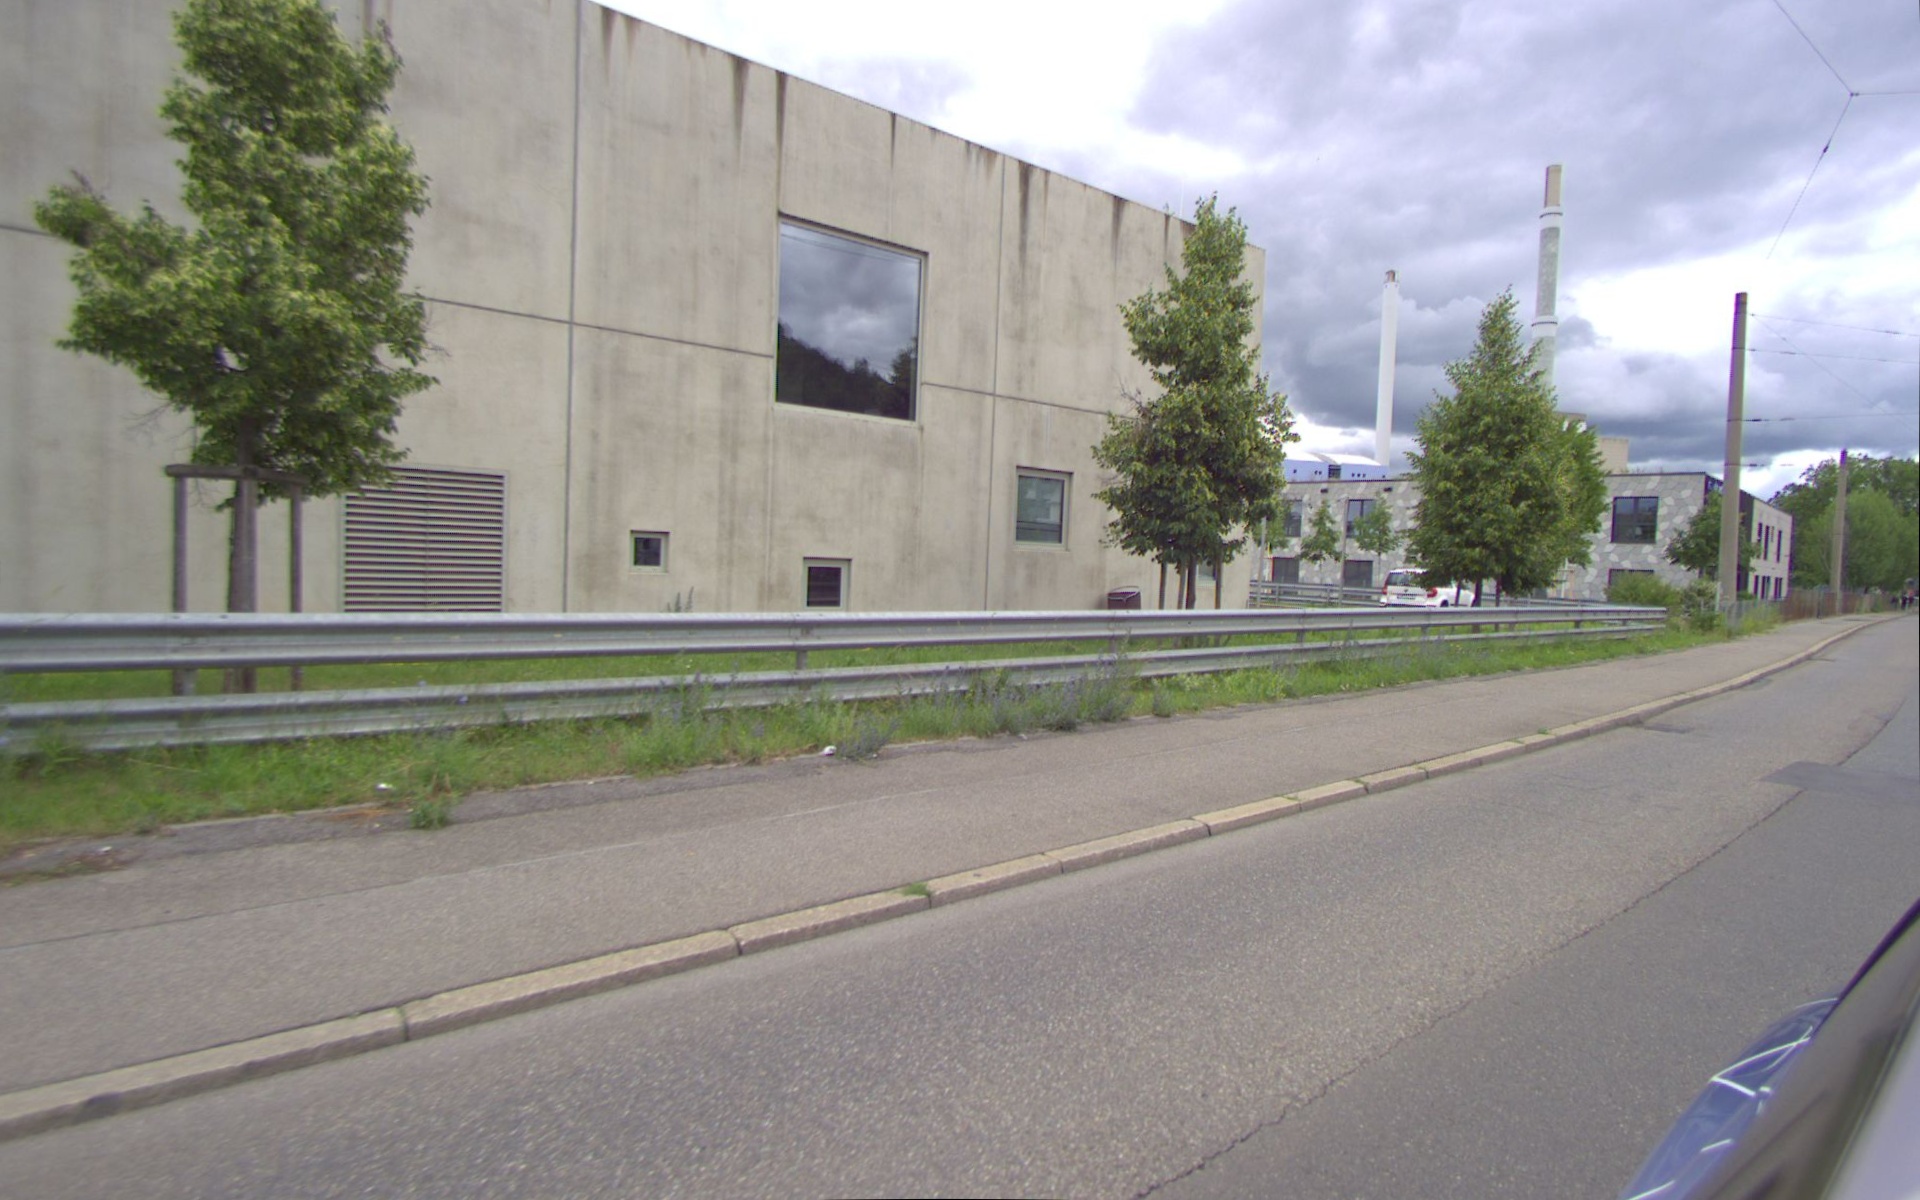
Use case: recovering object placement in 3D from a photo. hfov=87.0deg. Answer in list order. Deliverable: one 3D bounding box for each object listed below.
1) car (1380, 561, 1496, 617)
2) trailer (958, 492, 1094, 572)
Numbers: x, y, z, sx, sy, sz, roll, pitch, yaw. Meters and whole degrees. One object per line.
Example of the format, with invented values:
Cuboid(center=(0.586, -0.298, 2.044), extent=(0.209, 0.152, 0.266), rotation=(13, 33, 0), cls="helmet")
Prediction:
Cuboid(center=(14.528, -0.323, 30.645), extent=(4.356, 1.593, 1.751), rotation=(0, 1, -44), cls="car")
Cuboid(center=(3.997, -3.861, 59.020), extent=(2.941, 4.121, 8.558), rotation=(5, 3, 43), cls="trailer")
